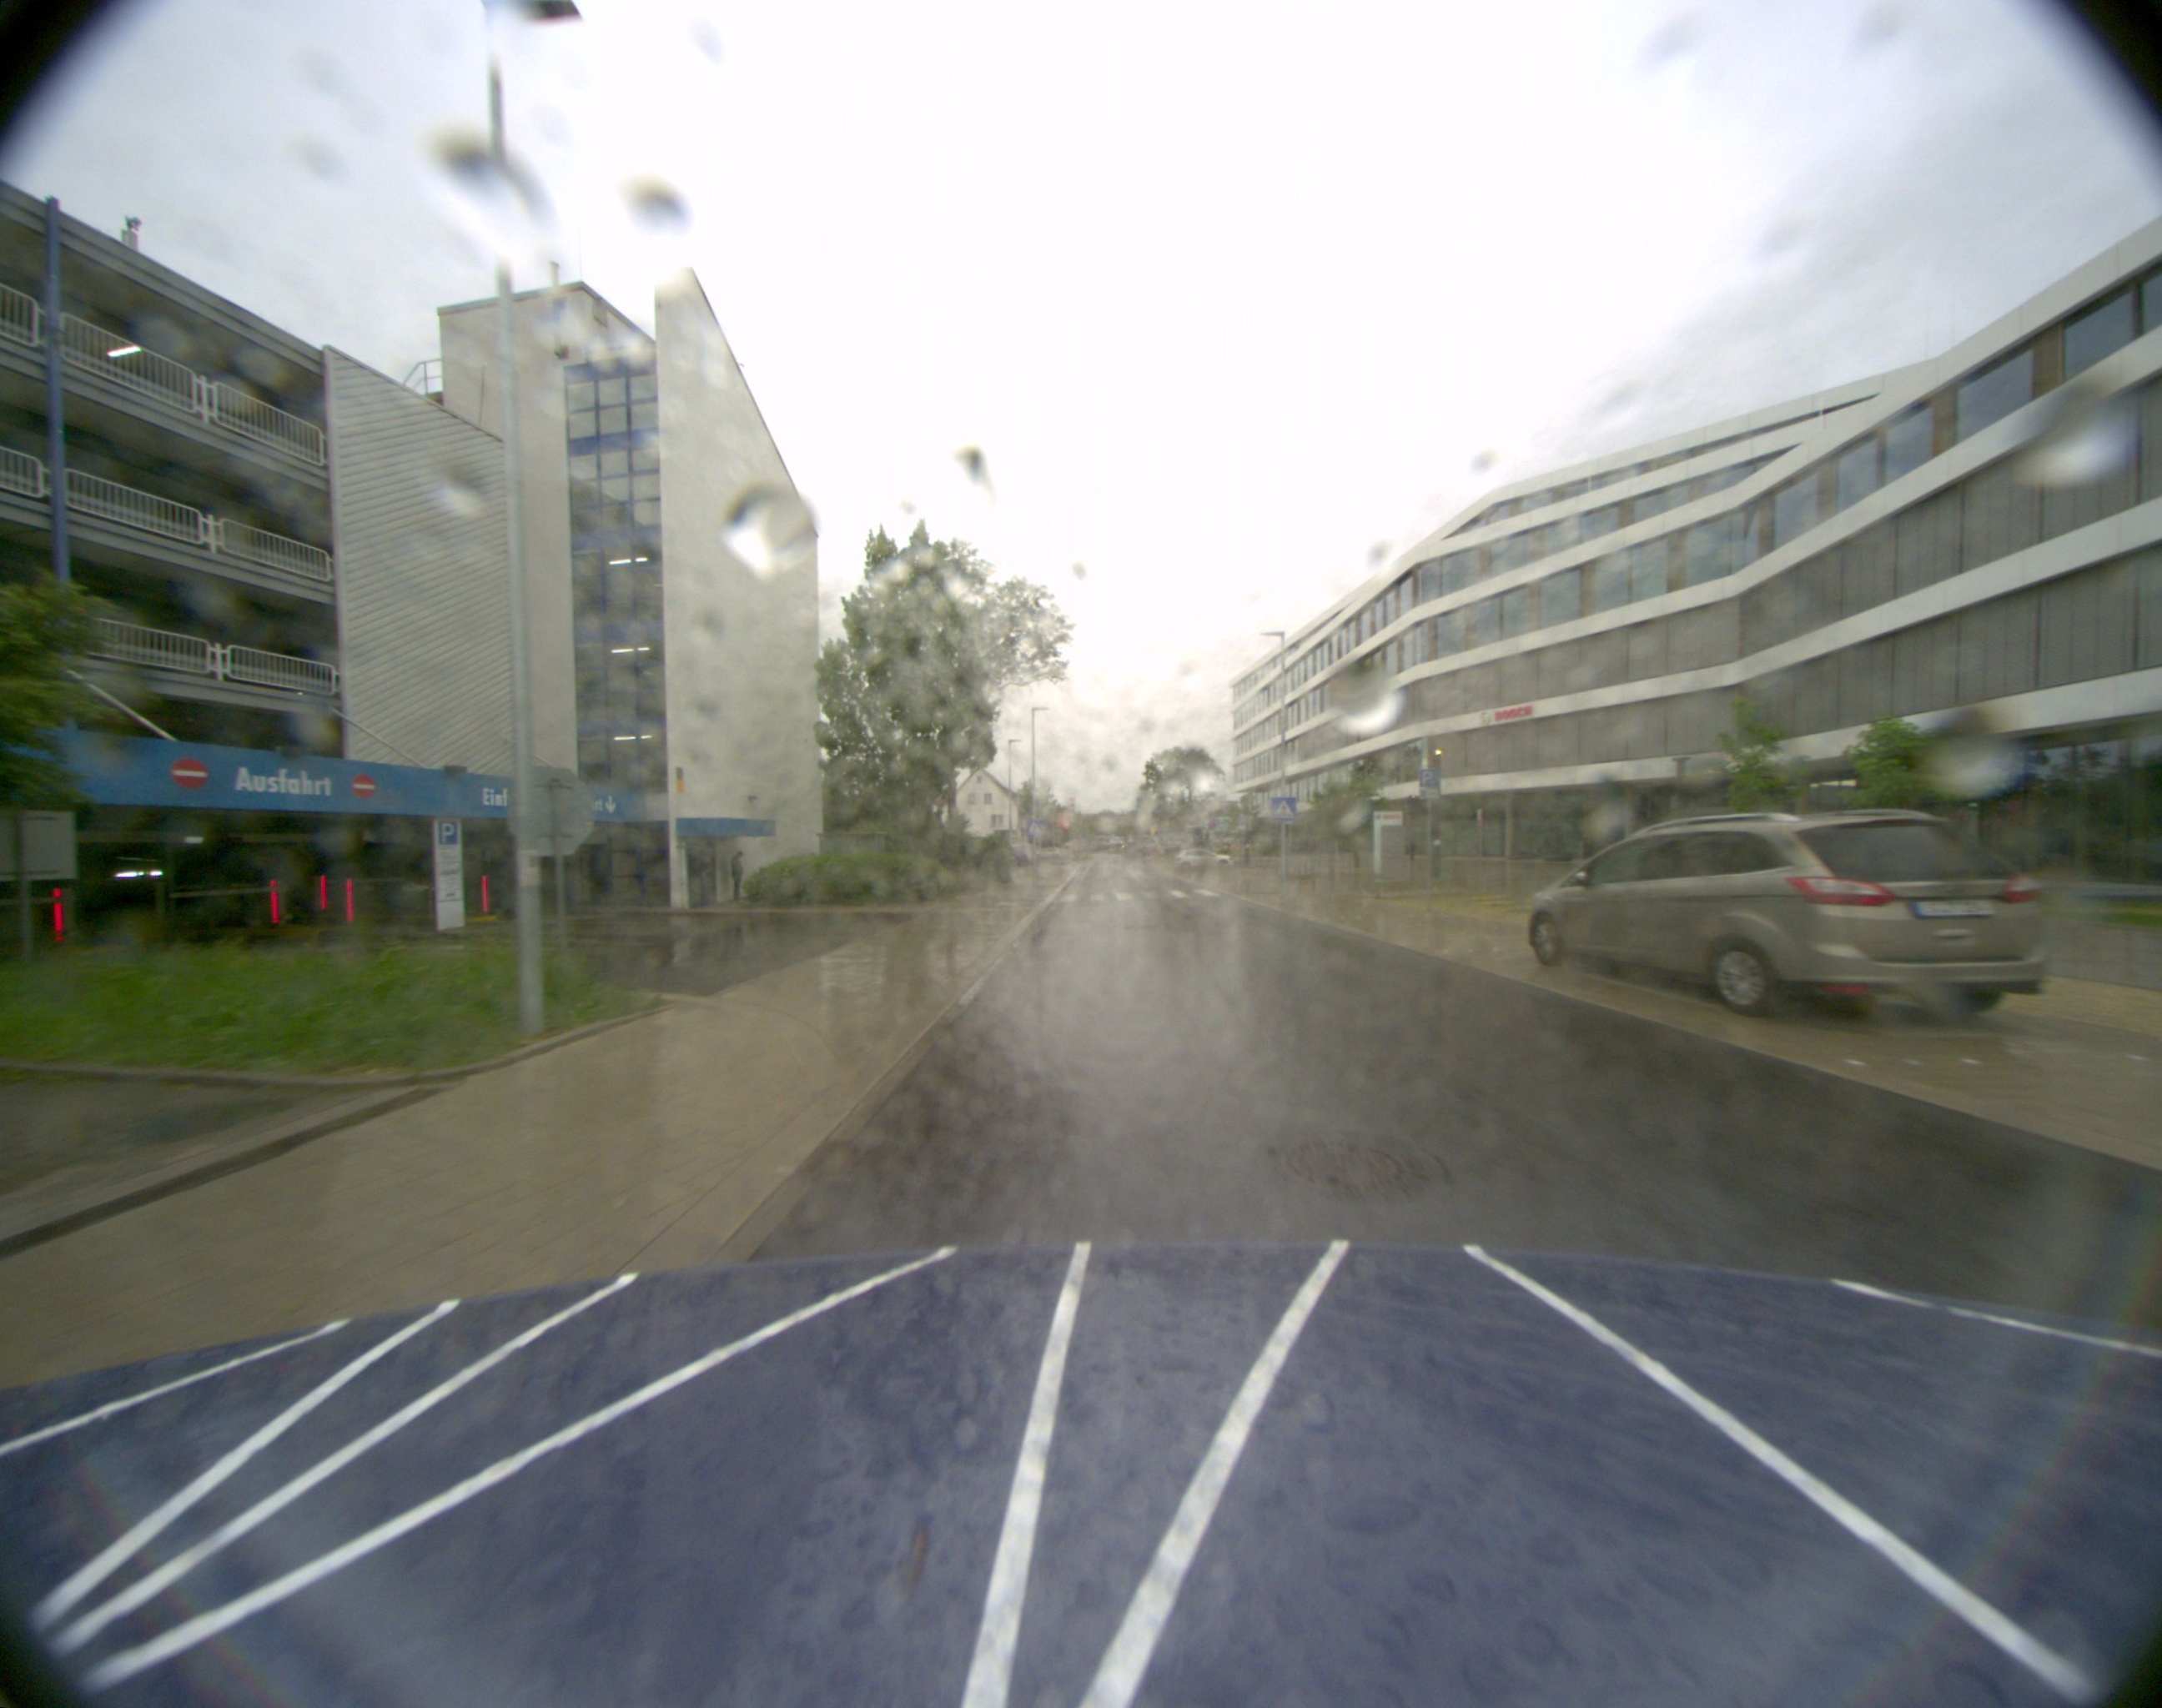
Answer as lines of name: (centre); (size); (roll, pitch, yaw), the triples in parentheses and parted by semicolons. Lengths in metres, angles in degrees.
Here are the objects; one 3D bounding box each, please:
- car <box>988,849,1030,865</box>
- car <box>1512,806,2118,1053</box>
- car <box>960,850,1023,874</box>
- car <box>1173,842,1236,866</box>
car: (-7.035, 0.265, 74.434); (3.998, 1.445, 1.868); (-1, 1, -3)
car: (6.307, 0.504, 7.436); (1.841, 1.696, 4.323); (-1, 1, 2)
car: (-5.937, 0.531, 50.617); (3.998, 1.445, 1.868); (-1, 1, -3)
car: (8.566, -0.031, 52.906); (4.166, 1.411, 2.000); (-3, 1, 5)
